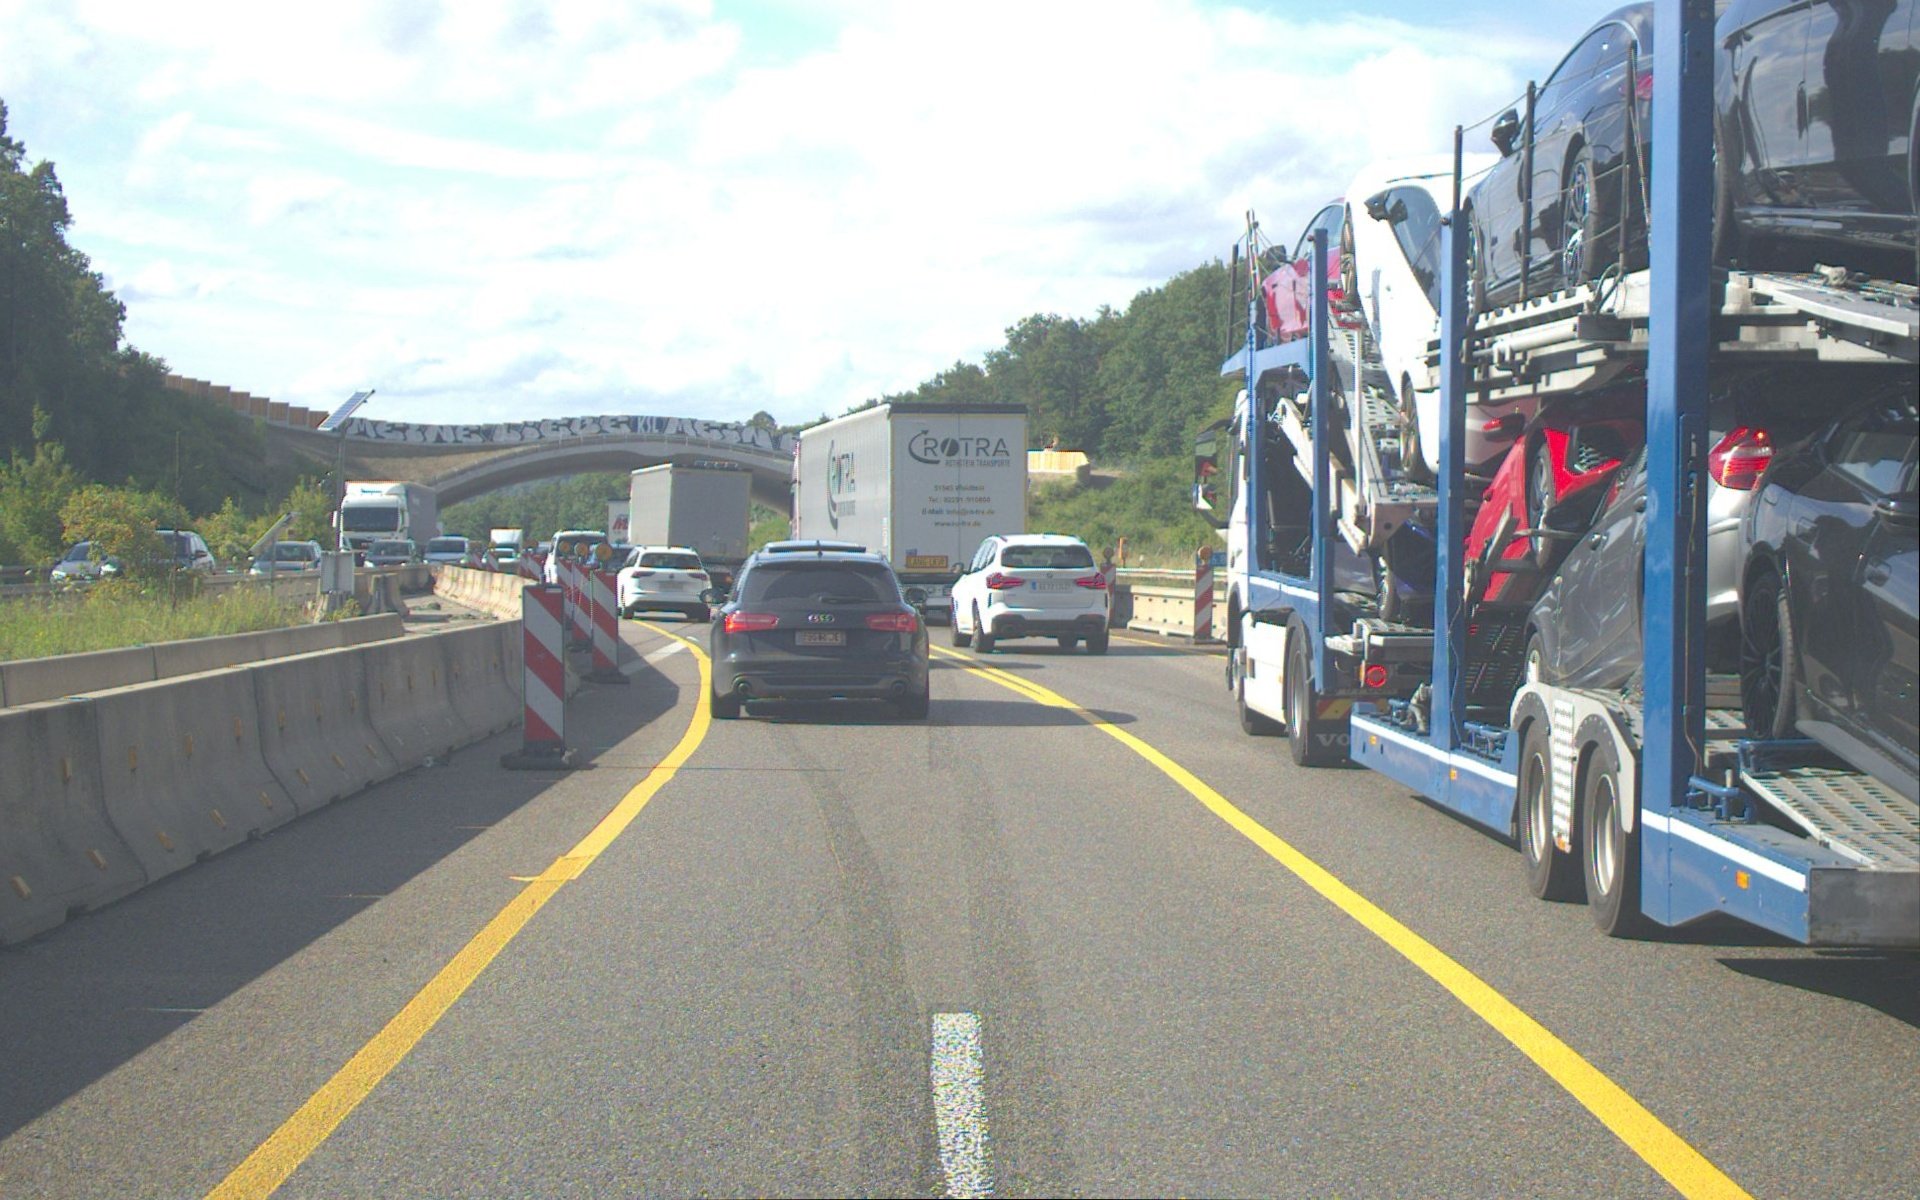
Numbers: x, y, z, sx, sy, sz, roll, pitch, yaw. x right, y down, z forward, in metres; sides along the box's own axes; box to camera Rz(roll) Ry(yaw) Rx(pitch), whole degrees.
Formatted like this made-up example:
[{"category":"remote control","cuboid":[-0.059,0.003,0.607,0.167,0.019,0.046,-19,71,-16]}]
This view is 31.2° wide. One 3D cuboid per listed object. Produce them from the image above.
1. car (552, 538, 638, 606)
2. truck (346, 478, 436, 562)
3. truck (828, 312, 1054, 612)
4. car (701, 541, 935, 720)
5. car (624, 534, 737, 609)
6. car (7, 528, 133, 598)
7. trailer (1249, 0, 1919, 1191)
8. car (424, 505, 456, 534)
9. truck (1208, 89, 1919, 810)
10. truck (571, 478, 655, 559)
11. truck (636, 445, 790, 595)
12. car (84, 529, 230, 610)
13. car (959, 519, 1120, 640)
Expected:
[{"category":"car","cuboid":[-9.112,-0.716,85.624,1.890,1.637,4.019,1,1,-9]},{"category":"truck","cuboid":[-22.911,-3.212,138.735,2.756,3.287,5.814,1,1,-1]},{"category":"truck","cuboid":[-0.655,-2.619,69.974,3.677,5.335,16.204,1,1,-3]},{"category":"car","cuboid":[-1.217,0.217,30.119,1.890,1.441,4.000,1,1,-2]},{"category":"car","cuboid":[-5.621,-0.583,68.816,1.890,1.441,4.001,1,1,-10]},{"category":"car","cuboid":[-21.229,-0.903,82.196,1.968,1.597,4.948,1,1,-3]},{"category":"trailer","cuboid":[3.953,-0.812,16.185,3.726,4.182,16.228,1,1,0]},{"category":"car","cuboid":[-33.188,-5.128,219.491,1.780,1.860,4.001,1,1,-5]},{"category":"truck","cuboid":[3.949,-0.946,24.154,3.761,4.182,7.951,1,1,0]},{"category":"truck","cuboid":[-17.594,-4.077,173.664,3.653,3.915,11.070,1,1,-8]},{"category":"truck","cuboid":[-8.199,-2.585,112.586,4.318,4.584,11.127,1,1,-8]},{"category":"car","cuboid":[-16.612,-0.660,71.359,1.968,1.597,4.948,1,1,-1]},{"category":"car","cuboid":[1.089,-0.313,49.142,1.890,1.637,4.018,1,1,-4]}]
